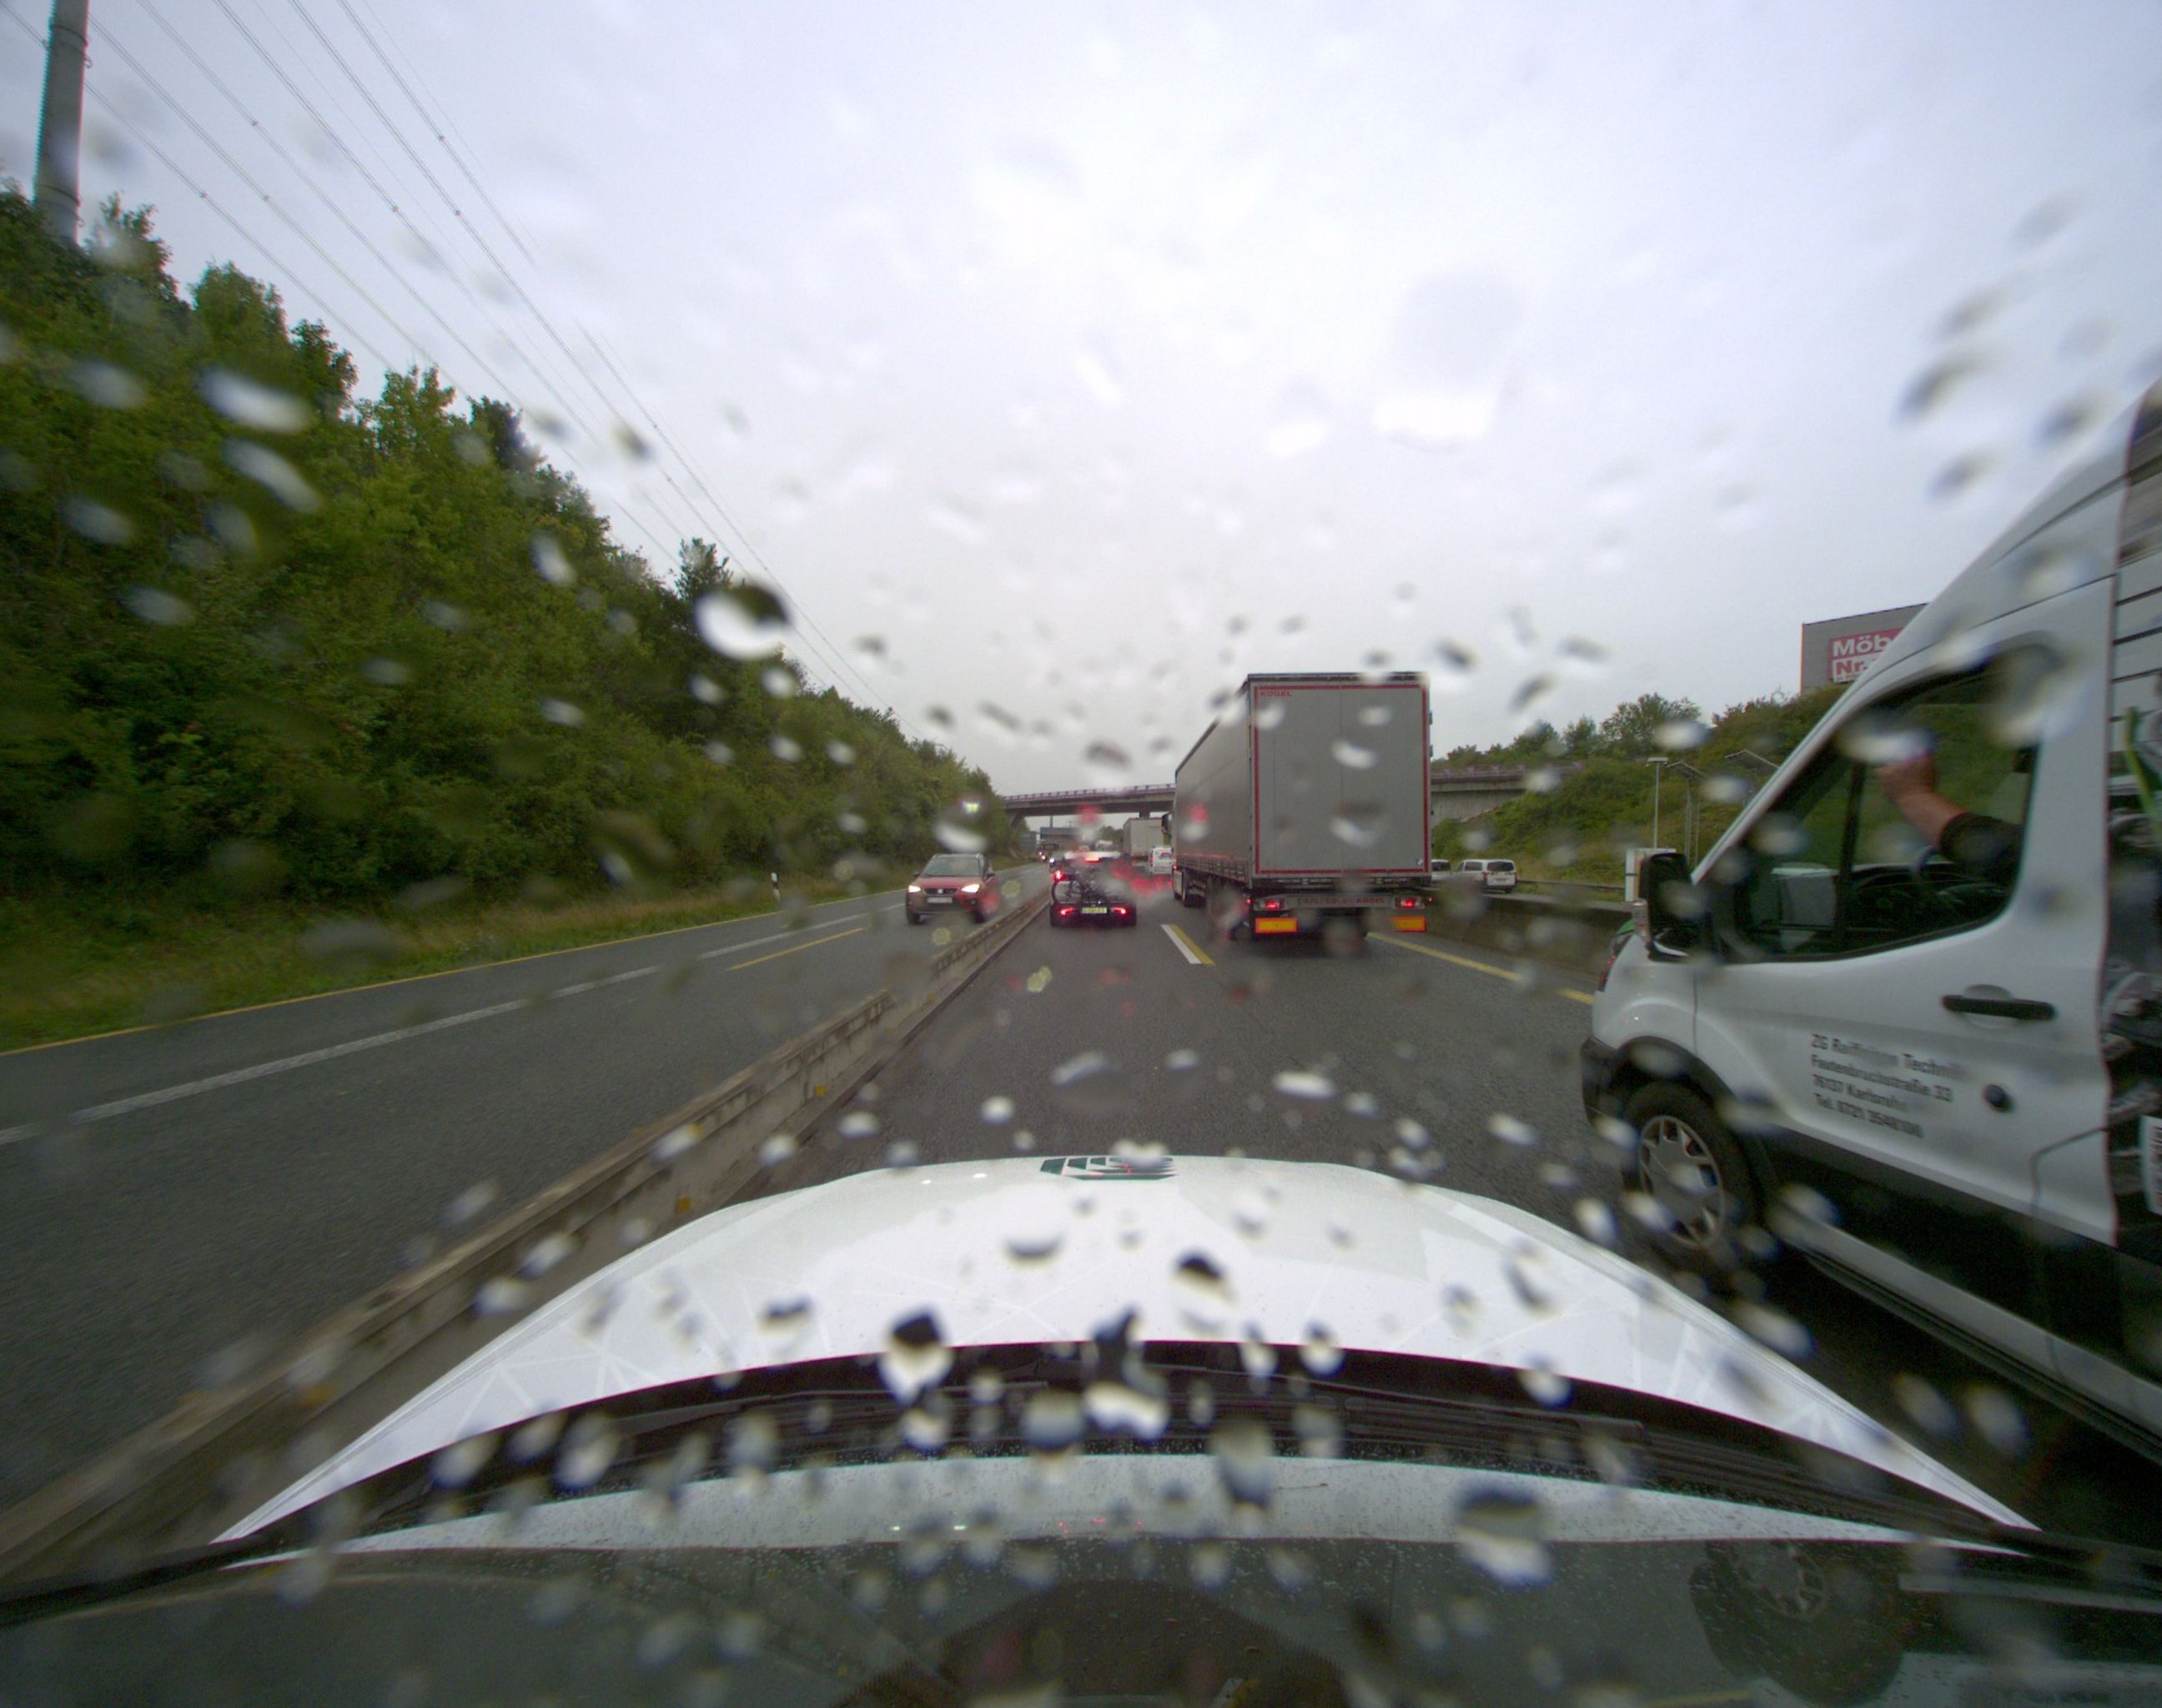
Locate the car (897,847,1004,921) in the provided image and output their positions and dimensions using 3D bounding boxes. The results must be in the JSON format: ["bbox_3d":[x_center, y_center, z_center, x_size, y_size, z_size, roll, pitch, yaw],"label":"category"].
[{"bbox_3d":[-2.980,0.657,19.423,1.788,1.555,4.002,-1,0,2],"label":"car"}]

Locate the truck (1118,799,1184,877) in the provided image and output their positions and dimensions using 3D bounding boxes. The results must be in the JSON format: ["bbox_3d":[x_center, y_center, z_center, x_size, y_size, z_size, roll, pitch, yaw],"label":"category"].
[{"bbox_3d":[5.663,-1.098,69.589,4.723,5.673,20.391,-1,0,3],"label":"truck"}]

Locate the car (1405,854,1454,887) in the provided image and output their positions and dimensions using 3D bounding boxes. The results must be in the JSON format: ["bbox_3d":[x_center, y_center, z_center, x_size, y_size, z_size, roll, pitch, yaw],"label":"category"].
[{"bbox_3d":[23.327,1.074,54.680,1.721,2.058,4.128,-1,0,4],"label":"car"}]

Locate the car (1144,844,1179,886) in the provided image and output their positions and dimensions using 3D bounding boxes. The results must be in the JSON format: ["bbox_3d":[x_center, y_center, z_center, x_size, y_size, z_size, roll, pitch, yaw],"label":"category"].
[{"bbox_3d":[4.299,0.577,44.042,1.663,2.180,4.538,-1,0,3],"label":"car"}]

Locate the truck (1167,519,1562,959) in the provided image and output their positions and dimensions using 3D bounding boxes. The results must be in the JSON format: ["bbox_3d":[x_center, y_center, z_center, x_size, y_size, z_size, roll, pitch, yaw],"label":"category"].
[{"bbox_3d":[4.737,-1.441,20.781,3.963,5.673,20.391,-1,0,3],"label":"truck"}]

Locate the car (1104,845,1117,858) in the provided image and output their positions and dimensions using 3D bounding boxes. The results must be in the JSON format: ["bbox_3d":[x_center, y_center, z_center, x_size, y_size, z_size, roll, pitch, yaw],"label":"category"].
[{"bbox_3d":[4.795,-0.439,131.218,1.986,2.014,4.002,-1,0,2],"label":"car"}]

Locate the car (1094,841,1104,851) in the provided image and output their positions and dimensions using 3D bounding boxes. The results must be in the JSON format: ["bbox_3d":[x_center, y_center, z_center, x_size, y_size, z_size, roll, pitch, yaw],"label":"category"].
[{"bbox_3d":[3.770,-1.630,170.001,1.986,2.126,4.529,-1,0,2],"label":"car"}]

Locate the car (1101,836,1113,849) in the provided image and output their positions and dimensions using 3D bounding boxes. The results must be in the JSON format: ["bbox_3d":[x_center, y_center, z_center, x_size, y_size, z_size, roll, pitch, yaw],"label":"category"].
[{"bbox_3d":[4.980,-2.185,156.924,2.231,2.307,4.574,-1,0,2],"label":"car"}]

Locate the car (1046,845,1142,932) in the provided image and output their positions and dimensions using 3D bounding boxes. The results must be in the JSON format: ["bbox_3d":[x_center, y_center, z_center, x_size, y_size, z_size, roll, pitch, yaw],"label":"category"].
[{"bbox_3d":[0.359,0.667,17.748,1.802,1.637,4.639,-1,0,3],"label":"car"}]

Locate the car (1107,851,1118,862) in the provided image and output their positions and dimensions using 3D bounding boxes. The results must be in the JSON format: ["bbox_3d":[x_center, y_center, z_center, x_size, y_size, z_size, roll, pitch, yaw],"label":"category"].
[{"bbox_3d":[4.514,0.354,117.384,1.632,1.497,3.668,-1,0,2],"label":"car"}]

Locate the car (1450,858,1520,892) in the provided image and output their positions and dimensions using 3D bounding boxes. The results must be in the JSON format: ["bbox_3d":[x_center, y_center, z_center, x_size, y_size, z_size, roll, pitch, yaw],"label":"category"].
[{"bbox_3d":[23.135,1.141,46.870,1.934,1.829,4.732,-1,0,4],"label":"car"}]

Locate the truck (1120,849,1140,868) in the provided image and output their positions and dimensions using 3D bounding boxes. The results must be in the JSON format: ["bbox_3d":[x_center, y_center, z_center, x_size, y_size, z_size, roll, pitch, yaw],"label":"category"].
[{"bbox_3d":[5.237,0.450,87.649,1.986,2.014,4.002,-1,0,2],"label":"truck"}]

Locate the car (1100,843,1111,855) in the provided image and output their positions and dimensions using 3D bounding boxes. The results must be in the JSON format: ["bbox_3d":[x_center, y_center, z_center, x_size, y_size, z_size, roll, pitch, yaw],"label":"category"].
[{"bbox_3d":[4.375,-0.915,144.068,1.986,2.014,4.002,-1,0,2],"label":"car"}]

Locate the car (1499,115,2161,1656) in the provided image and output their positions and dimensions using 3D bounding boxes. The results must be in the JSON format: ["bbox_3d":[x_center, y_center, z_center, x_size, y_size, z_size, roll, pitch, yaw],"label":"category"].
[{"bbox_3d":[2.911,0.050,0.775,2.135,2.676,6.122,-1,0,3],"label":"car"}]

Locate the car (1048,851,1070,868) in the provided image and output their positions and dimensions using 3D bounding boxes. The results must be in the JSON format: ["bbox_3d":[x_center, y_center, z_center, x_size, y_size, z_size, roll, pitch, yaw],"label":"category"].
[{"bbox_3d":[-2.173,0.519,80.821,1.803,1.633,4.121,-1,0,3],"label":"car"}]

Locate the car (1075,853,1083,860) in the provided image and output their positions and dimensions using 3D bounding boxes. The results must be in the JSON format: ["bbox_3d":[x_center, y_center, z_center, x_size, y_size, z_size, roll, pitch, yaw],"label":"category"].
[{"bbox_3d":[-0.396,0.583,172.099,1.680,1.409,3.930,-1,0,0],"label":"car"}]

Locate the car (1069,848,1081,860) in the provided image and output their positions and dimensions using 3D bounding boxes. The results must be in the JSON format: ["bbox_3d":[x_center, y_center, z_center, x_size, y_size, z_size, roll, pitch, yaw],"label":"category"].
[{"bbox_3d":[-0.928,0.007,131.612,1.804,1.824,4.635,-1,0,0],"label":"car"}]

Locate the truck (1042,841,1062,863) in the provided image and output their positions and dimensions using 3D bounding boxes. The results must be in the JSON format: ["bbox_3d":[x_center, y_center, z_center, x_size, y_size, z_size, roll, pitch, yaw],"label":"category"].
[{"bbox_3d":[-4.786,-0.300,136.089,2.526,3.352,12.051,-1,0,1],"label":"truck"}]

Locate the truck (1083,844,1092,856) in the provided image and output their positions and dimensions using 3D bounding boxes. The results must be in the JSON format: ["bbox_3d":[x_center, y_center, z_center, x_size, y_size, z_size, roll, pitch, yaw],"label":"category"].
[{"bbox_3d":[2.020,-1.196,245.162,2.526,3.352,12.051,-1,0,1],"label":"truck"}]

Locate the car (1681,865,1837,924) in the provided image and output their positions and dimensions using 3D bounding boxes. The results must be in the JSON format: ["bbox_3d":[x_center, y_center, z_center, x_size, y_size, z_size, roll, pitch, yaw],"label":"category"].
[{"bbox_3d":[22.528,1.285,27.322,1.723,1.757,4.269,-1,0,1],"label":"car"}]
